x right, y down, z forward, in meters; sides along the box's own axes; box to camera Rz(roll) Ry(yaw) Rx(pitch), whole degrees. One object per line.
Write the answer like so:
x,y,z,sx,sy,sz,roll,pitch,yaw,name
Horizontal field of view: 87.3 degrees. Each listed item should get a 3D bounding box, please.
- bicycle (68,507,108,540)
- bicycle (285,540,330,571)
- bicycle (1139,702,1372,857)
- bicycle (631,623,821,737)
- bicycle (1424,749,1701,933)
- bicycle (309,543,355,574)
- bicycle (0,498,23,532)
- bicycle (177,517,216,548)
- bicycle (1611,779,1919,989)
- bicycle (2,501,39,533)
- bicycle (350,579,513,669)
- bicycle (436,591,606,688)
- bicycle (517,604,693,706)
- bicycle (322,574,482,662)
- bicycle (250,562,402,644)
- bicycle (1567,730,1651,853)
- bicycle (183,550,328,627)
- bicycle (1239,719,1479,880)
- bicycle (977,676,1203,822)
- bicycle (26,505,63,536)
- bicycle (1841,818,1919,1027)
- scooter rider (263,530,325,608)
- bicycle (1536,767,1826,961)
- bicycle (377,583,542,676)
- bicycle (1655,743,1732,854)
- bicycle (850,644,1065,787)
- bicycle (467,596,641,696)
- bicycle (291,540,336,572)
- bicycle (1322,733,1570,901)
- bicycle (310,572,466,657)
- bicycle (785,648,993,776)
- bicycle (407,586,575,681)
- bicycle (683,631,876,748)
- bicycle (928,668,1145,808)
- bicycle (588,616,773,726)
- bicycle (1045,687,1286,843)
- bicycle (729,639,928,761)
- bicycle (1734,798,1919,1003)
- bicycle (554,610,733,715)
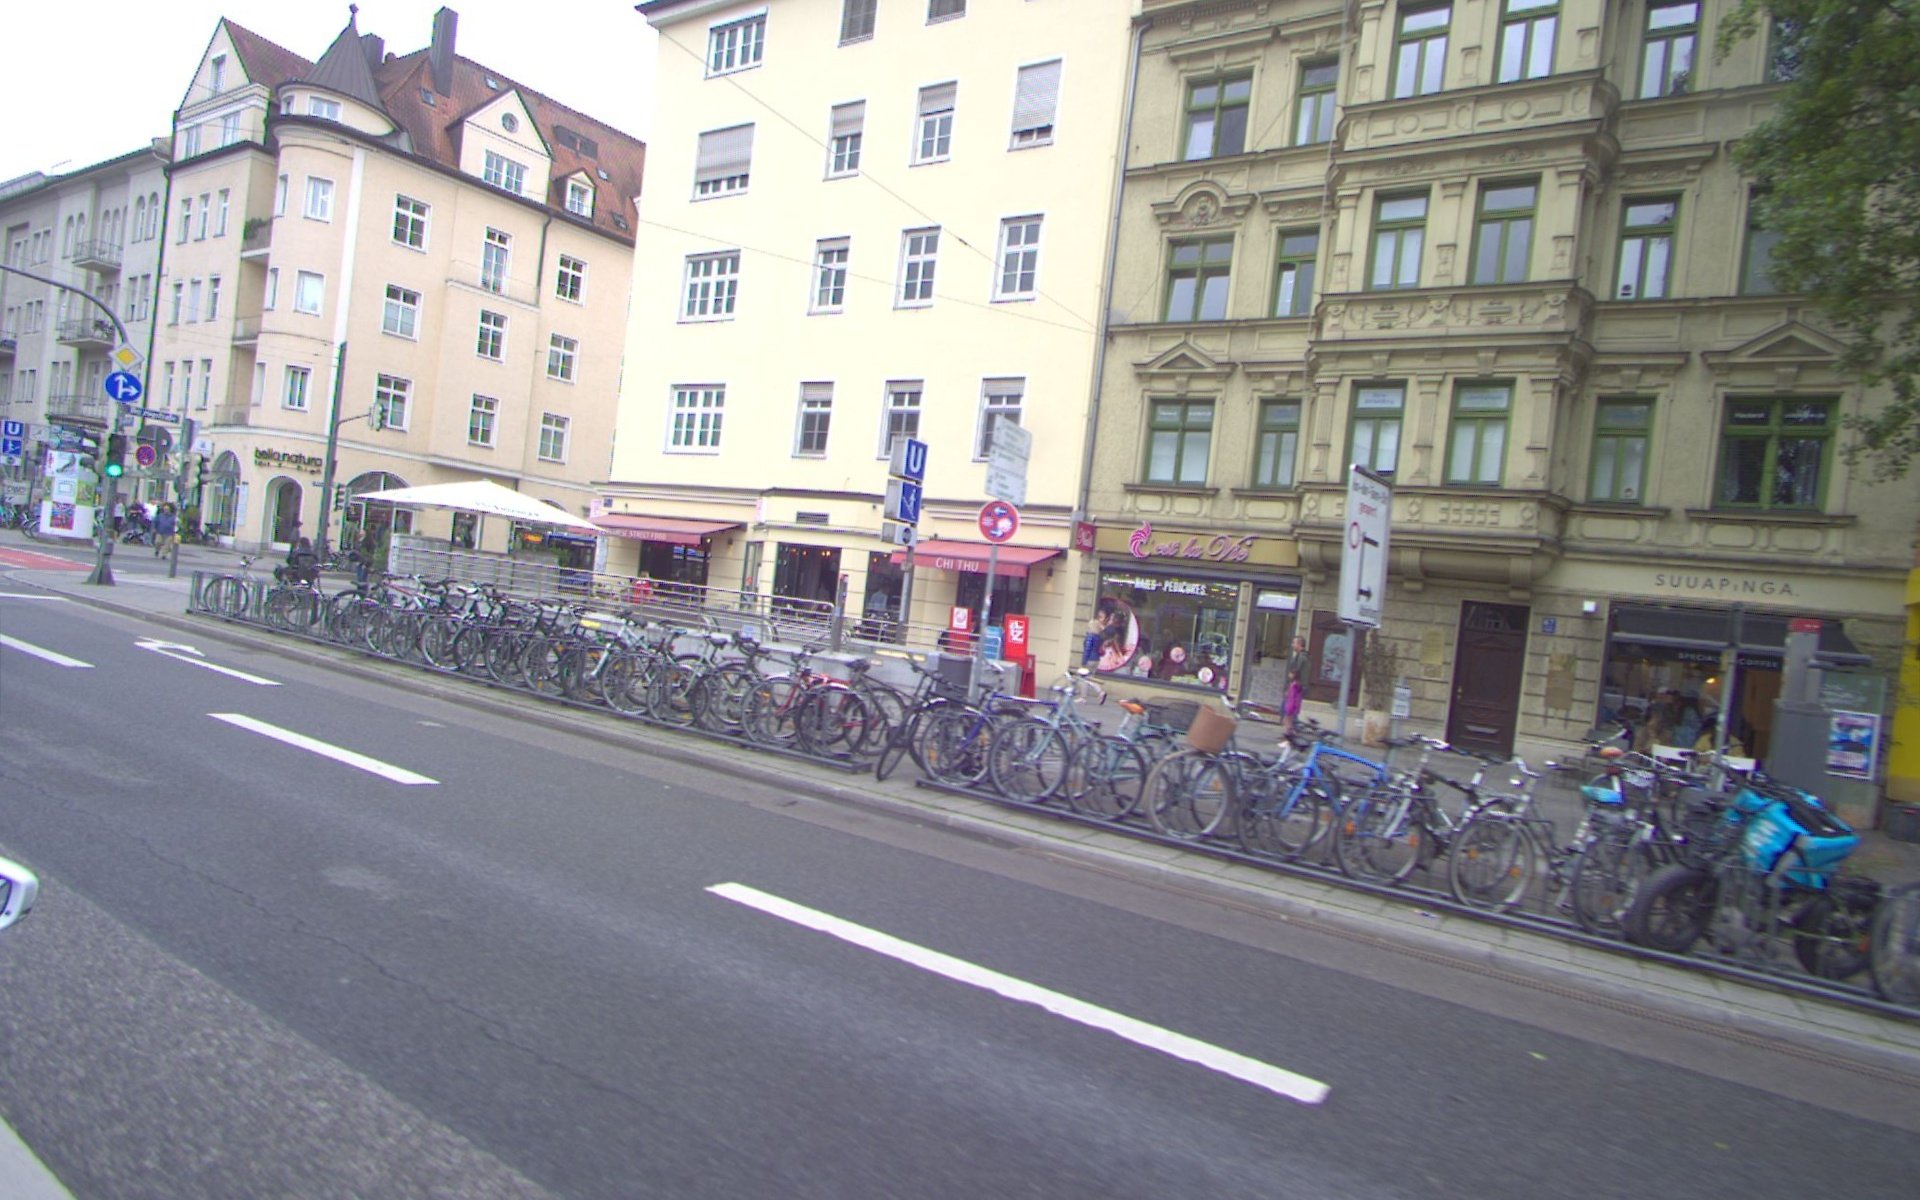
-33.763,-2.966,38.945,1.834,1.072,0.495,7,1,28,bicycle
-25.061,-1.711,38.680,0.244,1.046,1.584,7,0,18,bicycle
2.315,1.411,7.807,1.818,1.008,0.323,9,1,-22,bicycle
-2.423,0.841,10.492,1.813,1.008,0.347,6,1,-15,bicycle
4.022,1.611,6.690,1.815,1.008,0.324,9,1,-16,bicycle
-24.102,-1.574,38.647,0.350,1.046,1.584,7,0,18,bicycle
-35.072,-3.149,36.843,1.835,1.121,0.567,7,1,32,bicycle
-32.255,-2.866,42.487,1.833,1.103,0.495,7,1,26,bicycle
4.861,1.704,6.021,1.812,1.008,0.324,9,1,-12,bicycle
-34.799,-3.080,37.260,1.835,0.987,0.495,7,1,32,bicycle
-7.021,0.321,13.424,1.813,1.008,0.347,6,1,-15,bicycle
-5.355,0.492,12.359,1.815,1.008,0.346,6,1,-19,bicycle
-4.085,0.647,11.660,1.815,1.008,0.346,6,1,-19,bicycle
-7.621,0.249,13.788,1.813,1.008,0.347,6,1,-15,bicycle
-9.343,0.045,14.864,1.812,1.008,0.347,6,1,-14,bicycle
6.799,1.964,10.592,0.380,1.058,1.727,8,0,26,bicycle
-11.150,-0.171,15.953,1.812,1.008,0.347,6,1,-14,bicycle
2.975,1.491,7.444,1.818,1.008,0.323,9,1,-22,bicycle
1.107,1.266,8.462,1.816,1.008,0.324,9,1,-19,bicycle
-34.451,-3.006,37.841,1.835,0.987,0.495,7,1,32,bicycle
5.756,1.814,5.546,1.815,1.008,0.324,9,1,-16,bicycle
-13.073,-0.605,19.757,0.632,1.406,0.701,7,1,30,scooter rider
4.553,1.673,6.334,1.815,1.008,0.324,9,1,-16,bicycle
-6.470,0.386,13.078,1.813,1.008,0.347,6,1,-15,bicycle
7.984,2.121,10.928,0.382,1.058,1.720,9,0,42,bicycle
-0.003,1.066,9.127,1.819,1.126,0.464,7,1,-26,bicycle
-4.804,0.557,11.998,1.815,1.008,0.346,6,1,-19,bicycle
-24.808,-1.677,38.617,0.244,1.046,1.584,7,0,18,bicycle
3.442,1.543,7.077,1.818,1.008,0.323,9,1,-22,bicycle
-8.034,0.206,14.180,1.812,1.008,0.347,6,1,-12,bicycle
-0.658,1.050,9.384,1.813,1.008,0.324,7,1,-14,bicycle
-5.895,0.429,12.724,1.815,1.008,0.346,6,1,-19,bicycle
-1.816,0.916,10.192,1.815,1.008,0.346,6,1,-19,bicycle
0.688,1.222,8.860,1.816,1.008,0.324,9,1,-19,bicycle
-3.003,0.773,10.889,1.813,1.008,0.347,6,1,-15,bicycle
1.648,1.327,8.047,1.814,1.008,0.324,9,1,-14,bicycle
-1.277,0.978,9.825,1.812,1.008,0.347,6,1,-14,bicycle
5.483,1.789,5.867,1.812,1.008,0.324,9,1,-11,bicycle
-3.541,0.711,11.321,1.815,1.008,0.346,6,1,-19,bicycle
